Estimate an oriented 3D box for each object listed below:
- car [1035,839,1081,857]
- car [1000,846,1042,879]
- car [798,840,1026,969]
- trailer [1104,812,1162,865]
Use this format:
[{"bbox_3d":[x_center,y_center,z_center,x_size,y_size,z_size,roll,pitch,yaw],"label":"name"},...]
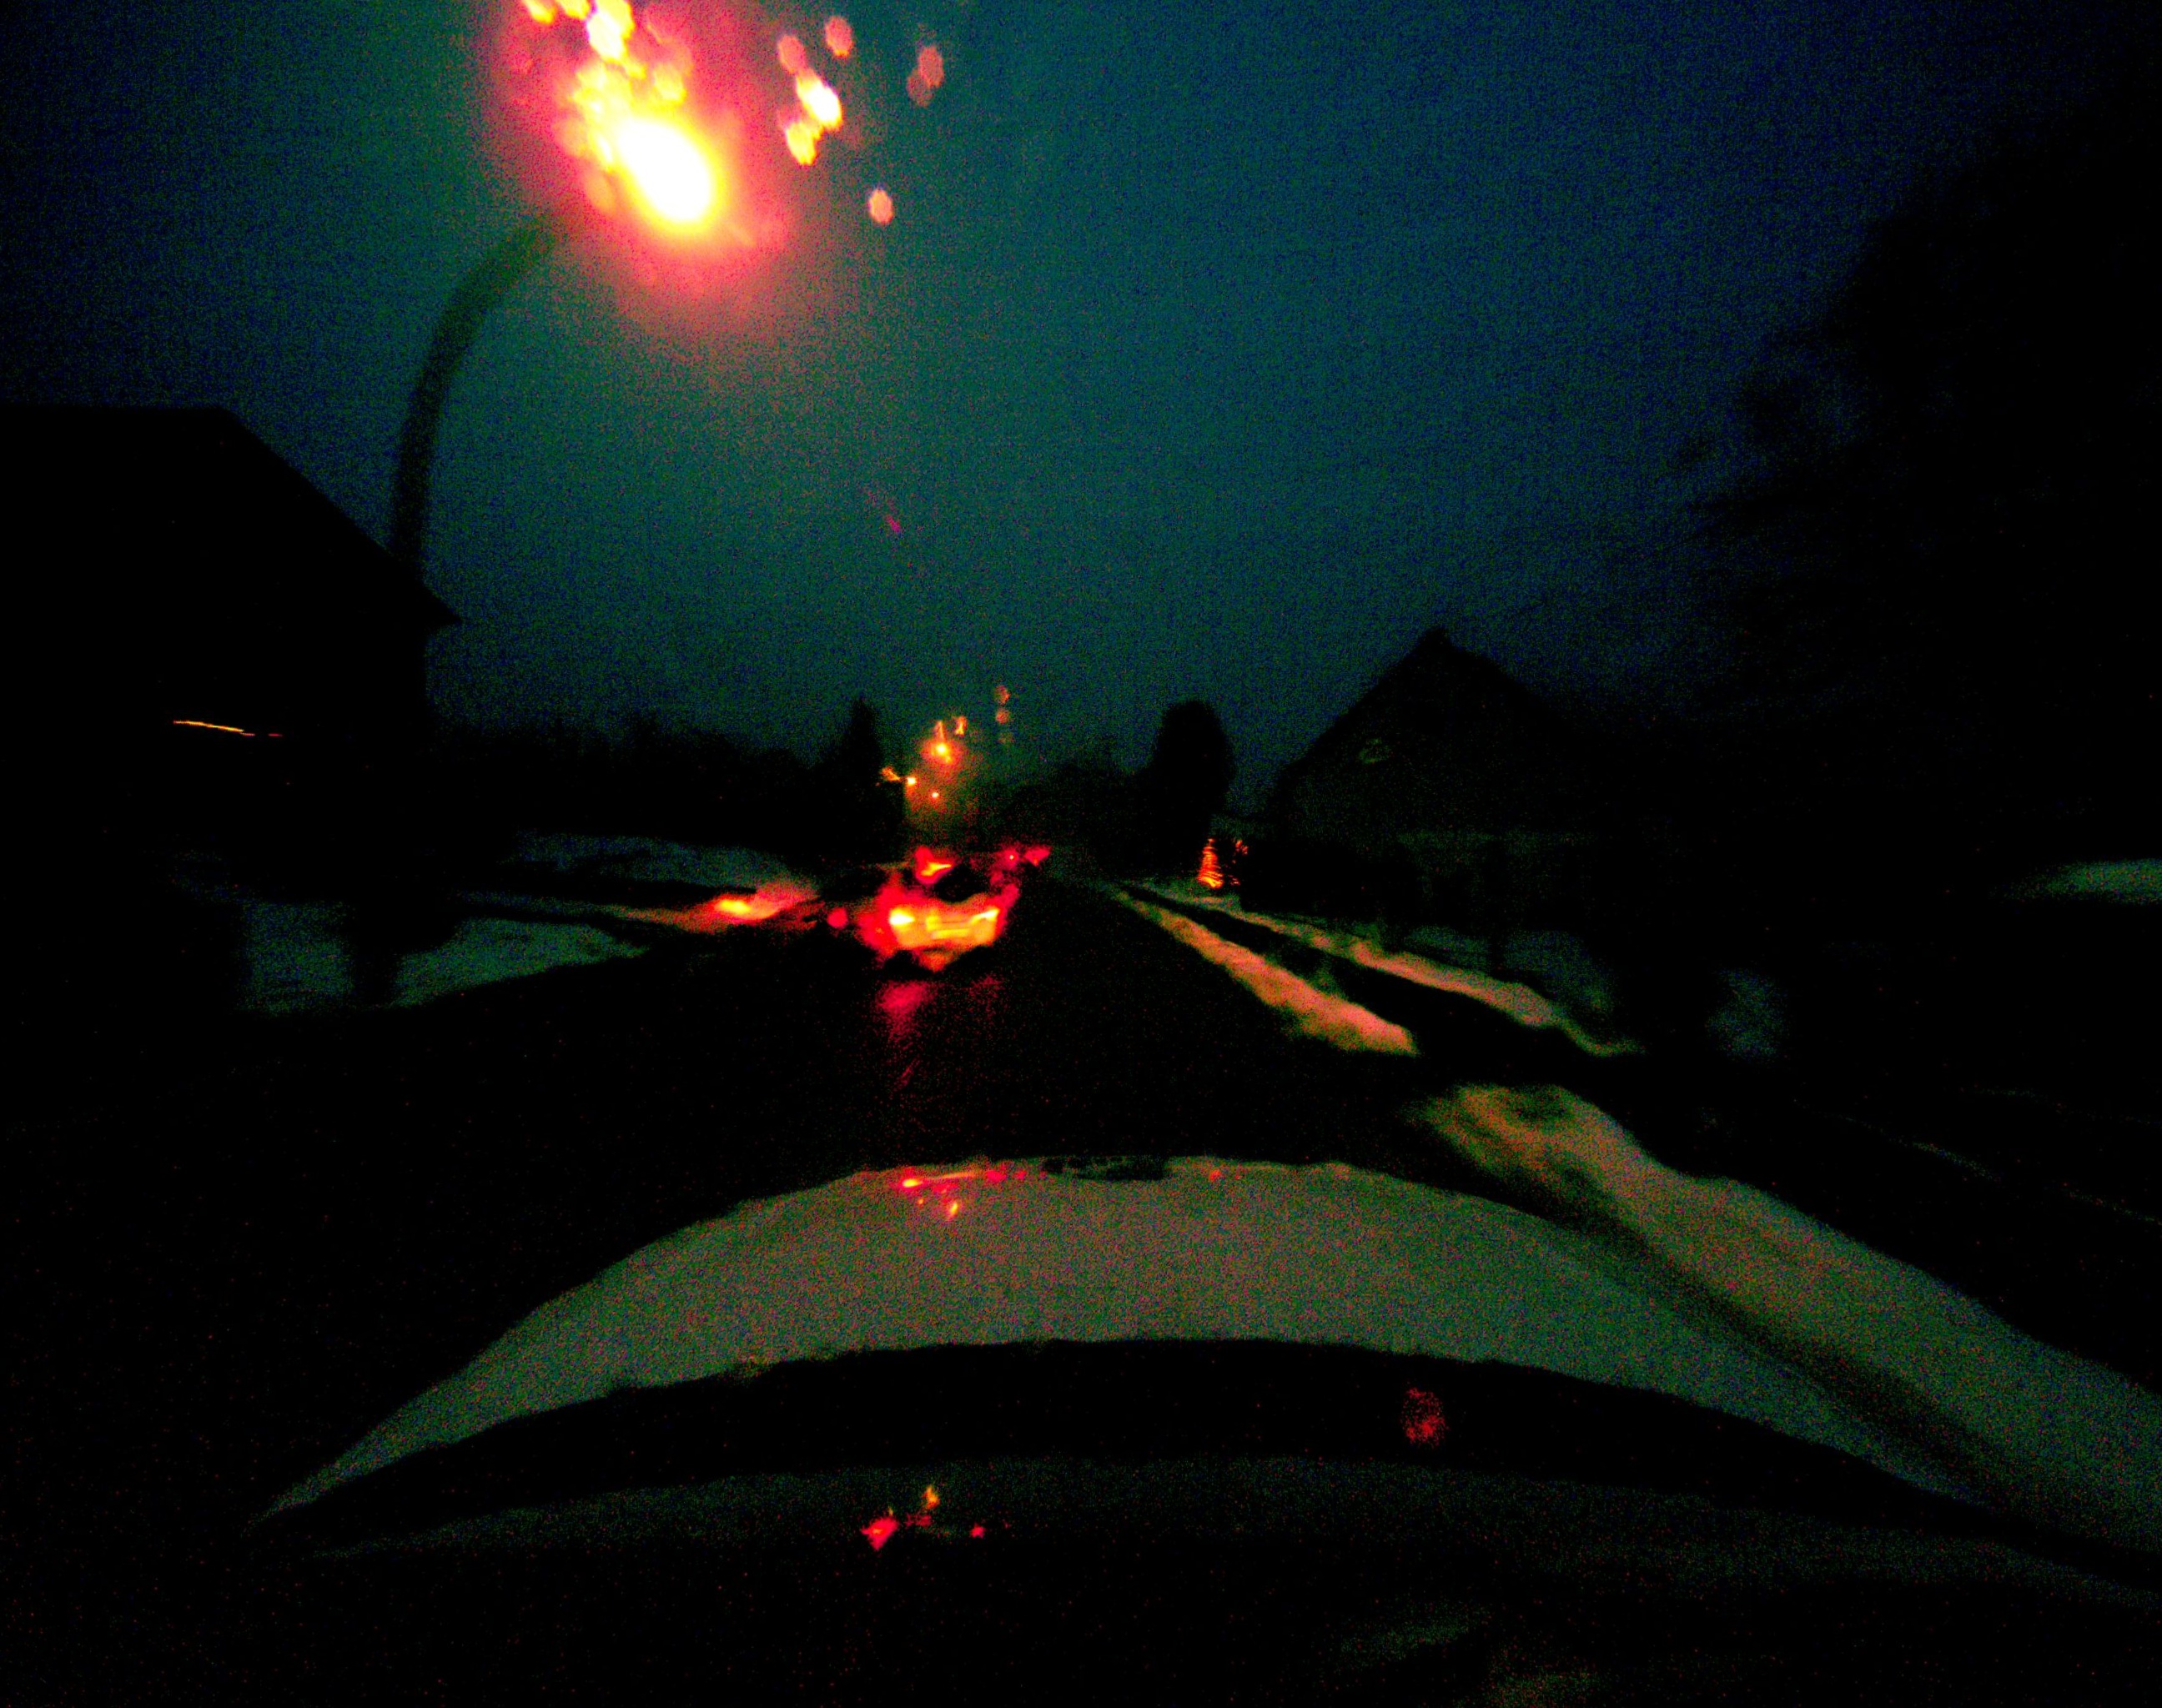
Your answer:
[{"bbox_3d":[-2.155,-0.561,75.623,4.232,1.559,1.998,-1,-2,-2],"label":"car"},{"bbox_3d":[-3.408,0.489,45.361,1.993,1.737,3.865,0,-2,-10],"label":"car"},{"bbox_3d":[-2.702,0.617,12.341,1.912,1.609,3.956,1,0,-36],"label":"car"},{"bbox_3d":[3.681,-1.056,58.386,2.876,3.560,5.042,1,0,-12],"label":"trailer"}]
